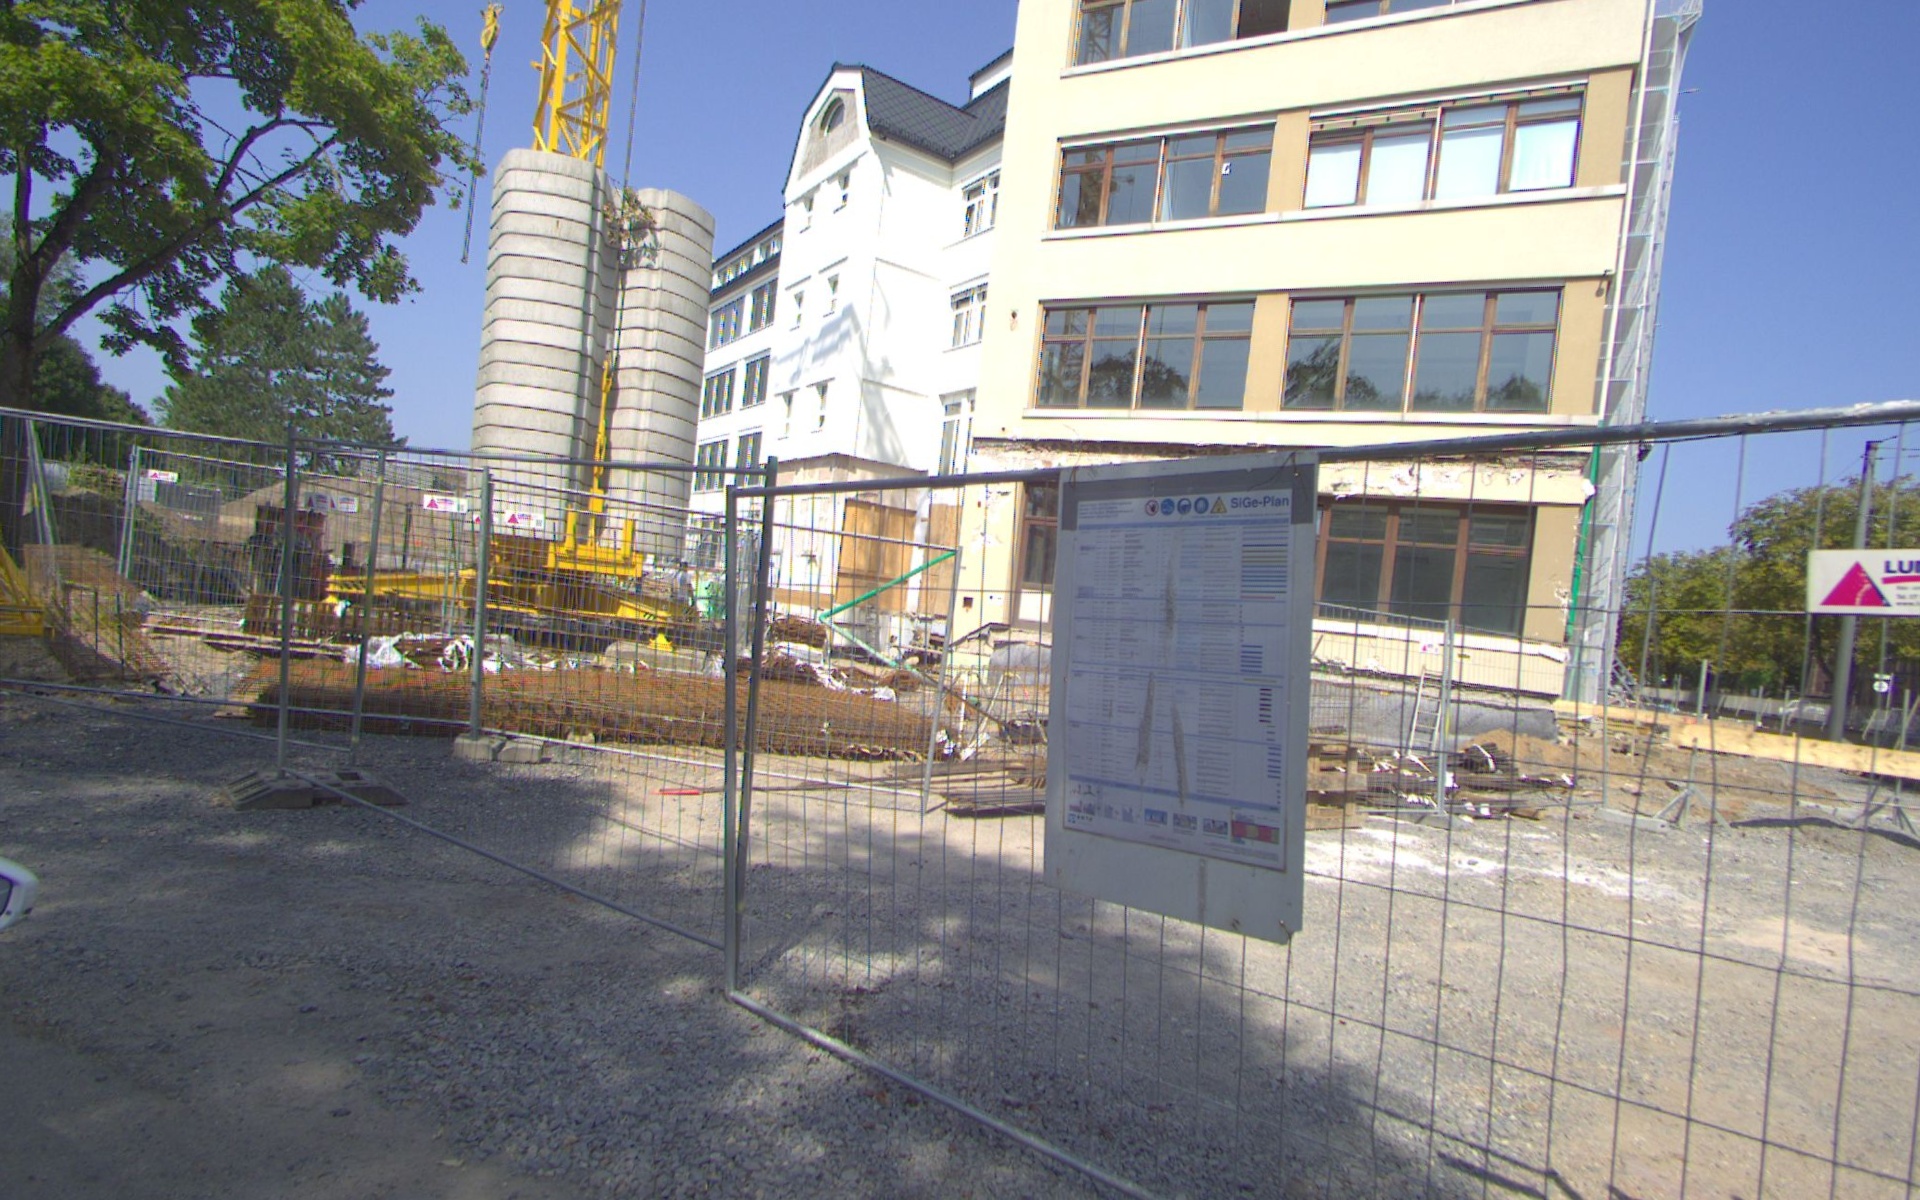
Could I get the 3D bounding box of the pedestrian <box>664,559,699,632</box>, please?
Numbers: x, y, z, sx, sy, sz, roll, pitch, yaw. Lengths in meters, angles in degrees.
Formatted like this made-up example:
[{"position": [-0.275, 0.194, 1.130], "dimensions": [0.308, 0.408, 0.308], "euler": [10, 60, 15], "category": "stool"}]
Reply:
[{"position": [-6.195, -0.108, 22.350], "dimensions": [0.517, 1.547, 0.492], "euler": [6, 1, -27], "category": "pedestrian"}]
